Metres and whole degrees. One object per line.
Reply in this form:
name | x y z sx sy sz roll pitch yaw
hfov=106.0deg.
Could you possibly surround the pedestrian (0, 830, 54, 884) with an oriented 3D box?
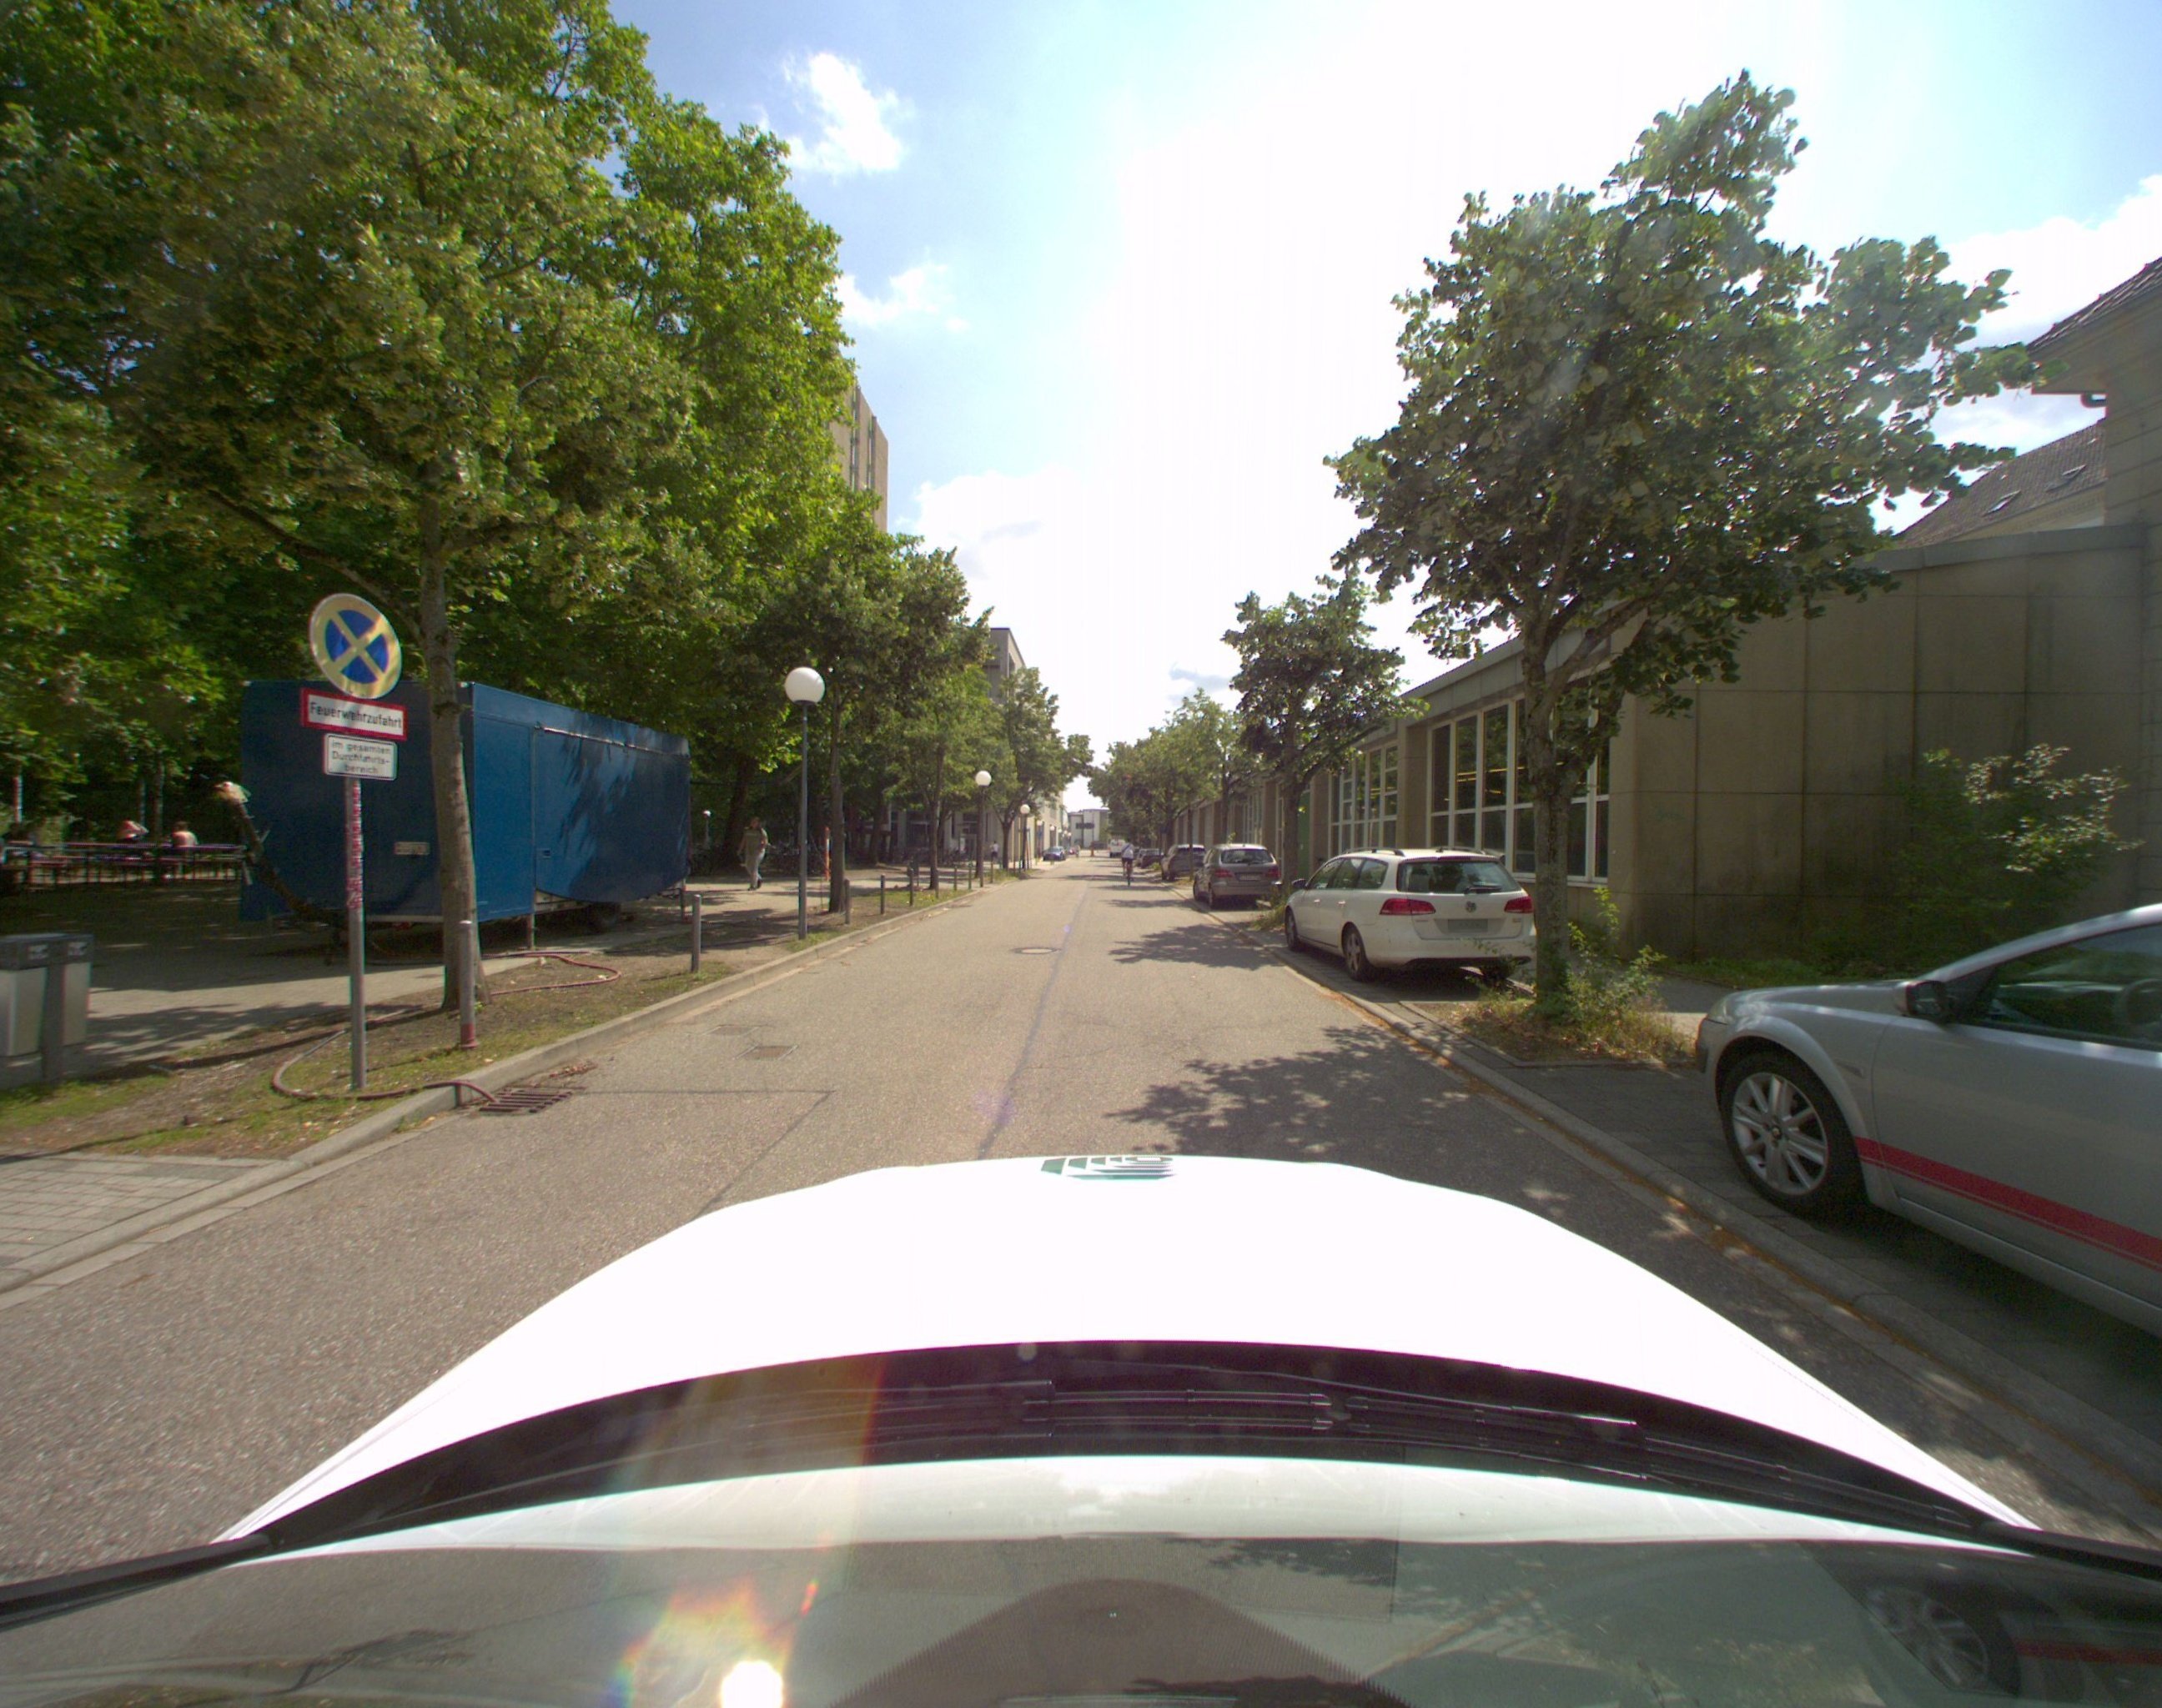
pedestrian | -23.670 0.060 18.251 0.391 1.194 0.728 1 0 -8

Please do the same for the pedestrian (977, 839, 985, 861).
pedestrian | -8.145 -0.351 66.278 0.443 1.775 0.447 1 0 -29

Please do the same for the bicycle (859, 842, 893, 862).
bicycle | -13.215 -0.116 52.512 2.027 1.253 0.582 -1 1 -31

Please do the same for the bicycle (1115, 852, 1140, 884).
bicycle | 1.840 0.542 32.596 0.879 1.199 2.750 1 1 1

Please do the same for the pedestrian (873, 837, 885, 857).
pedestrian | -16.448 -0.572 66.324 0.628 1.661 0.697 1 0 16

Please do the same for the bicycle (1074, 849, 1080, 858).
bicycle | -0.465 -0.081 99.484 0.683 1.129 1.888 0 1 0

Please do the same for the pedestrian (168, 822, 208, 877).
pedestrian | -23.374 -0.121 21.320 0.505 1.422 0.459 1 0 -9

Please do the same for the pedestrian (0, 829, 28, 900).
pedestrian | -19.755 0.182 14.765 0.597 1.233 0.735 1 2 -33

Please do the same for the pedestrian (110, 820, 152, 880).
pedestrian | -24.563 -0.097 21.070 0.505 1.522 0.472 1 0 -10

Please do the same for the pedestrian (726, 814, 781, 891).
pedestrian | -8.747 -0.043 21.775 0.912 1.954 0.895 3 0 11

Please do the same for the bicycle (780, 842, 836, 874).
bicycle | -10.928 0.147 32.672 2.058 1.234 0.804 1 0 -17

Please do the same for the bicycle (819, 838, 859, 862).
bicycle | -15.230 -0.240 51.286 2.298 1.450 0.601 0 0 -32

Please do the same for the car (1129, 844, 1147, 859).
car | 6.228 -0.266 88.916 1.851 1.574 4.002 -1 0 2

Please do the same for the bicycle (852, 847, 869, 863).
bicycle | -15.703 0.073 58.068 0.550 1.086 1.974 2 1 2

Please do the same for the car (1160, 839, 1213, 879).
car | 4.732 0.232 37.170 1.816 1.664 4.583 -1 0 0

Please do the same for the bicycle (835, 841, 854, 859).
bicycle | -16.756 -0.292 57.744 0.523 1.253 2.383 0 1 3

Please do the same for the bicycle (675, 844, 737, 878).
bicycle | -12.786 0.241 27.821 1.861 1.089 0.543 1 1 -20

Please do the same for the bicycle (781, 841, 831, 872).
bicycle | -10.500 0.091 31.175 1.777 1.132 0.456 1 0 -17

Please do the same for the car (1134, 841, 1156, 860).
car | 5.207 -0.291 66.357 1.610 1.538 3.781 1 0 2

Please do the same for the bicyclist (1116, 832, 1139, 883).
bicyclist | 1.846 0.131 32.516 0.870 2.013 0.850 1 0 1

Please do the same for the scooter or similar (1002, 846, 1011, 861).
scooter or similar | -6.176 -0.038 67.814 0.452 1.223 1.551 1 0 5

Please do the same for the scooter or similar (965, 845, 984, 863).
scooter or similar | -6.766 -0.007 51.953 0.335 1.175 1.337 1 0 36

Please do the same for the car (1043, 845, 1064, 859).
car | -2.857 -0.223 84.418 1.759 1.427 4.238 1 0 3

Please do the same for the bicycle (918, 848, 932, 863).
bicycle | -11.183 0.088 58.540 0.550 1.086 1.974 2 1 2

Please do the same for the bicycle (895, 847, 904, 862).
bicycle | -11.929 0.041 53.608 0.475 0.965 1.651 1 0 -9

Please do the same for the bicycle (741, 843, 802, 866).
bicycle | -16.550 0.018 43.624 2.898 1.178 0.872 1 1 -41

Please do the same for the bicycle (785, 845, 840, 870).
bicycle | -11.491 0.161 34.893 2.159 1.008 0.672 1 1 -29

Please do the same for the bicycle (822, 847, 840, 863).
bicycle | -17.819 0.072 58.136 0.550 1.086 1.974 2 1 2

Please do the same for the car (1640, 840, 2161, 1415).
car | 3.498 0.692 1.897 1.641 1.390 3.988 -1 1 -1

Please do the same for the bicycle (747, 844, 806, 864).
bicycle | -15.914 -0.001 42.646 2.748 1.002 0.872 1 1 -41

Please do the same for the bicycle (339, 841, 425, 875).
bicycle | -21.545 0.117 25.120 2.006 1.008 0.583 0 1 -8

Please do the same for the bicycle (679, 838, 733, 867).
bicycle | -16.381 -0.062 35.600 2.068 1.234 0.633 1 1 -34

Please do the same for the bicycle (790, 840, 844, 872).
bicycle | -10.931 0.076 33.832 2.058 1.234 0.804 2 0 -17

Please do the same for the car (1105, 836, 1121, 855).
car | 4.437 -1.198 113.327 2.076 2.539 4.317 1 1 1

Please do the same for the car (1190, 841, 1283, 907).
car | 4.052 0.464 21.817 1.698 1.574 4.140 -1 1 0

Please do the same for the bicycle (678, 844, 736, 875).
bicycle | -13.746 0.204 29.955 1.861 1.089 0.543 1 1 -20

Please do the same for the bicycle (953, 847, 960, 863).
bicycle | -7.918 0.063 51.720 0.382 1.025 1.808 1 0 -11

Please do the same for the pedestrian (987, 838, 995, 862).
pedestrian | -7.227 -0.335 65.590 0.415 1.941 0.657 1 0 -28

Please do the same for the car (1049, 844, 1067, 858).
car | -2.509 -0.295 89.730 1.624 1.484 4.180 1 0 2

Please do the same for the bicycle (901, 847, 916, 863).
bicycle | -12.338 0.079 58.219 0.550 1.086 1.974 2 1 2

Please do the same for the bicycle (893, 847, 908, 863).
bicycle | -12.903 0.078 58.162 0.550 1.086 1.974 2 1 2

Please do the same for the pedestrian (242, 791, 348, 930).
pedestrian | -10.871 0.066 11.303 0.856 1.835 0.870 1 2 -29

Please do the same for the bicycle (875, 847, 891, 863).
bicycle | -14.157 0.079 58.280 0.550 1.086 1.974 2 1 2

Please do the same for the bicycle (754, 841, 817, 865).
bicycle | -15.196 -0.046 41.926 2.924 1.220 0.872 1 1 -41

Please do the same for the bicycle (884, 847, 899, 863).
bicycle | -13.510 0.077 58.143 0.550 1.086 1.974 2 1 2

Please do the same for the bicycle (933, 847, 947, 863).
bicycle | -10.082 0.082 58.227 0.550 1.086 1.974 2 1 2

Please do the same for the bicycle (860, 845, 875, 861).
bicycle | -14.567 -0.085 55.620 0.473 1.032 1.851 1 0 2

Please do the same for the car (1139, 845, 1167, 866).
car | 5.341 0.079 60.954 1.774 1.476 4.463 -1 1 1

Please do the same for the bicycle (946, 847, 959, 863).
bicycle | -9.139 0.078 58.018 0.550 1.086 1.974 2 1 2

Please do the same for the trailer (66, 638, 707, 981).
trailer | -7.711 -0.434 10.472 2.686 3.026 6.268 1 1 1

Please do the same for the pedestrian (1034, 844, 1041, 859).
pedestrian | -4.705 -0.286 88.864 0.649 1.701 0.887 1 0 -9

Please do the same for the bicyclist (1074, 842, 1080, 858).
bicyclist | -0.474 -0.511 99.530 0.709 2.013 1.018 -1 0 -1

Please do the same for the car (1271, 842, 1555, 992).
car | 3.845 0.593 10.421 1.720 1.467 4.671 -1 1 0
